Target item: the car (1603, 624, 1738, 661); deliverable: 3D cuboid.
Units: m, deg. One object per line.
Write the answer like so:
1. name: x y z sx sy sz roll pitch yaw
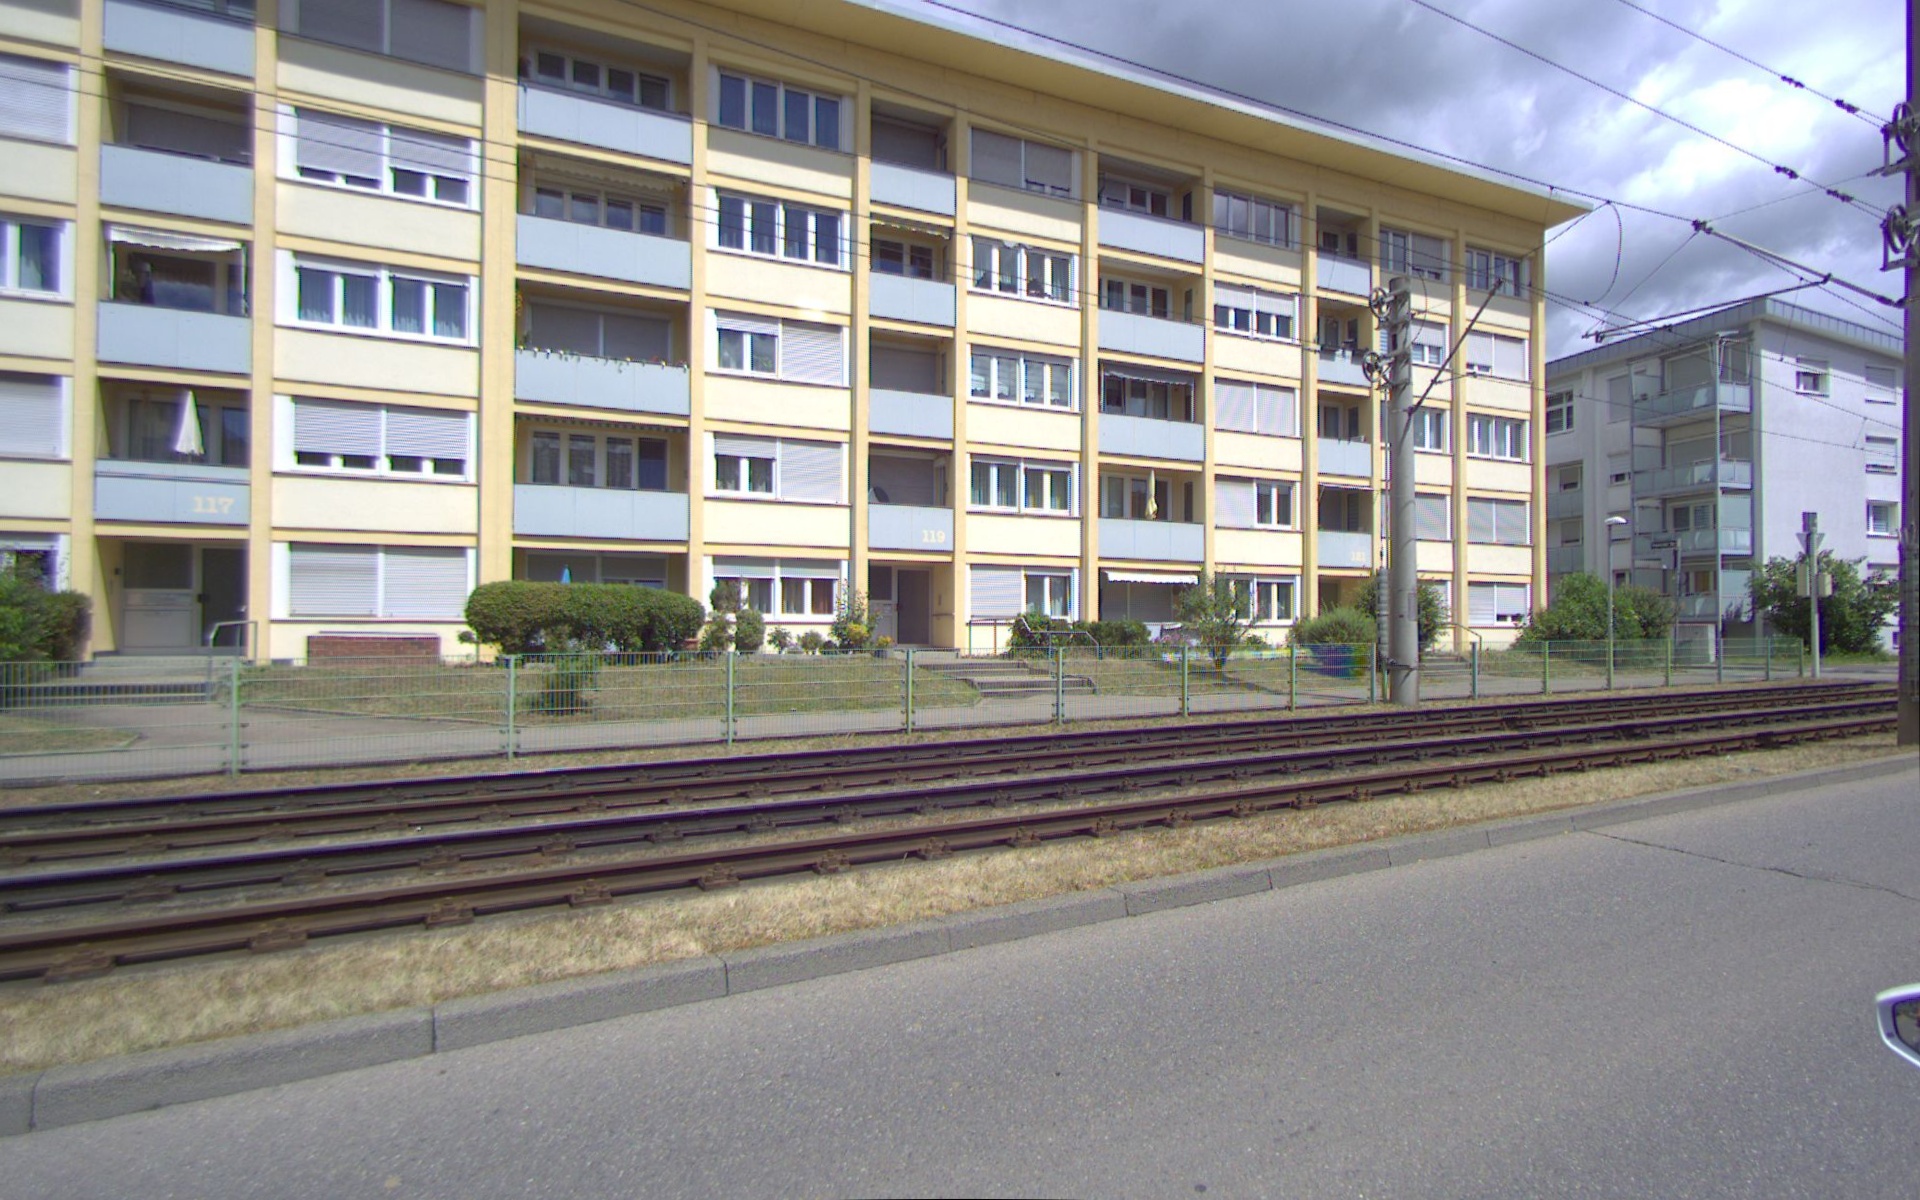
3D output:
1. car: 27.937 1.628 39.643 1.873 1.363 3.980 1 -1 -21
